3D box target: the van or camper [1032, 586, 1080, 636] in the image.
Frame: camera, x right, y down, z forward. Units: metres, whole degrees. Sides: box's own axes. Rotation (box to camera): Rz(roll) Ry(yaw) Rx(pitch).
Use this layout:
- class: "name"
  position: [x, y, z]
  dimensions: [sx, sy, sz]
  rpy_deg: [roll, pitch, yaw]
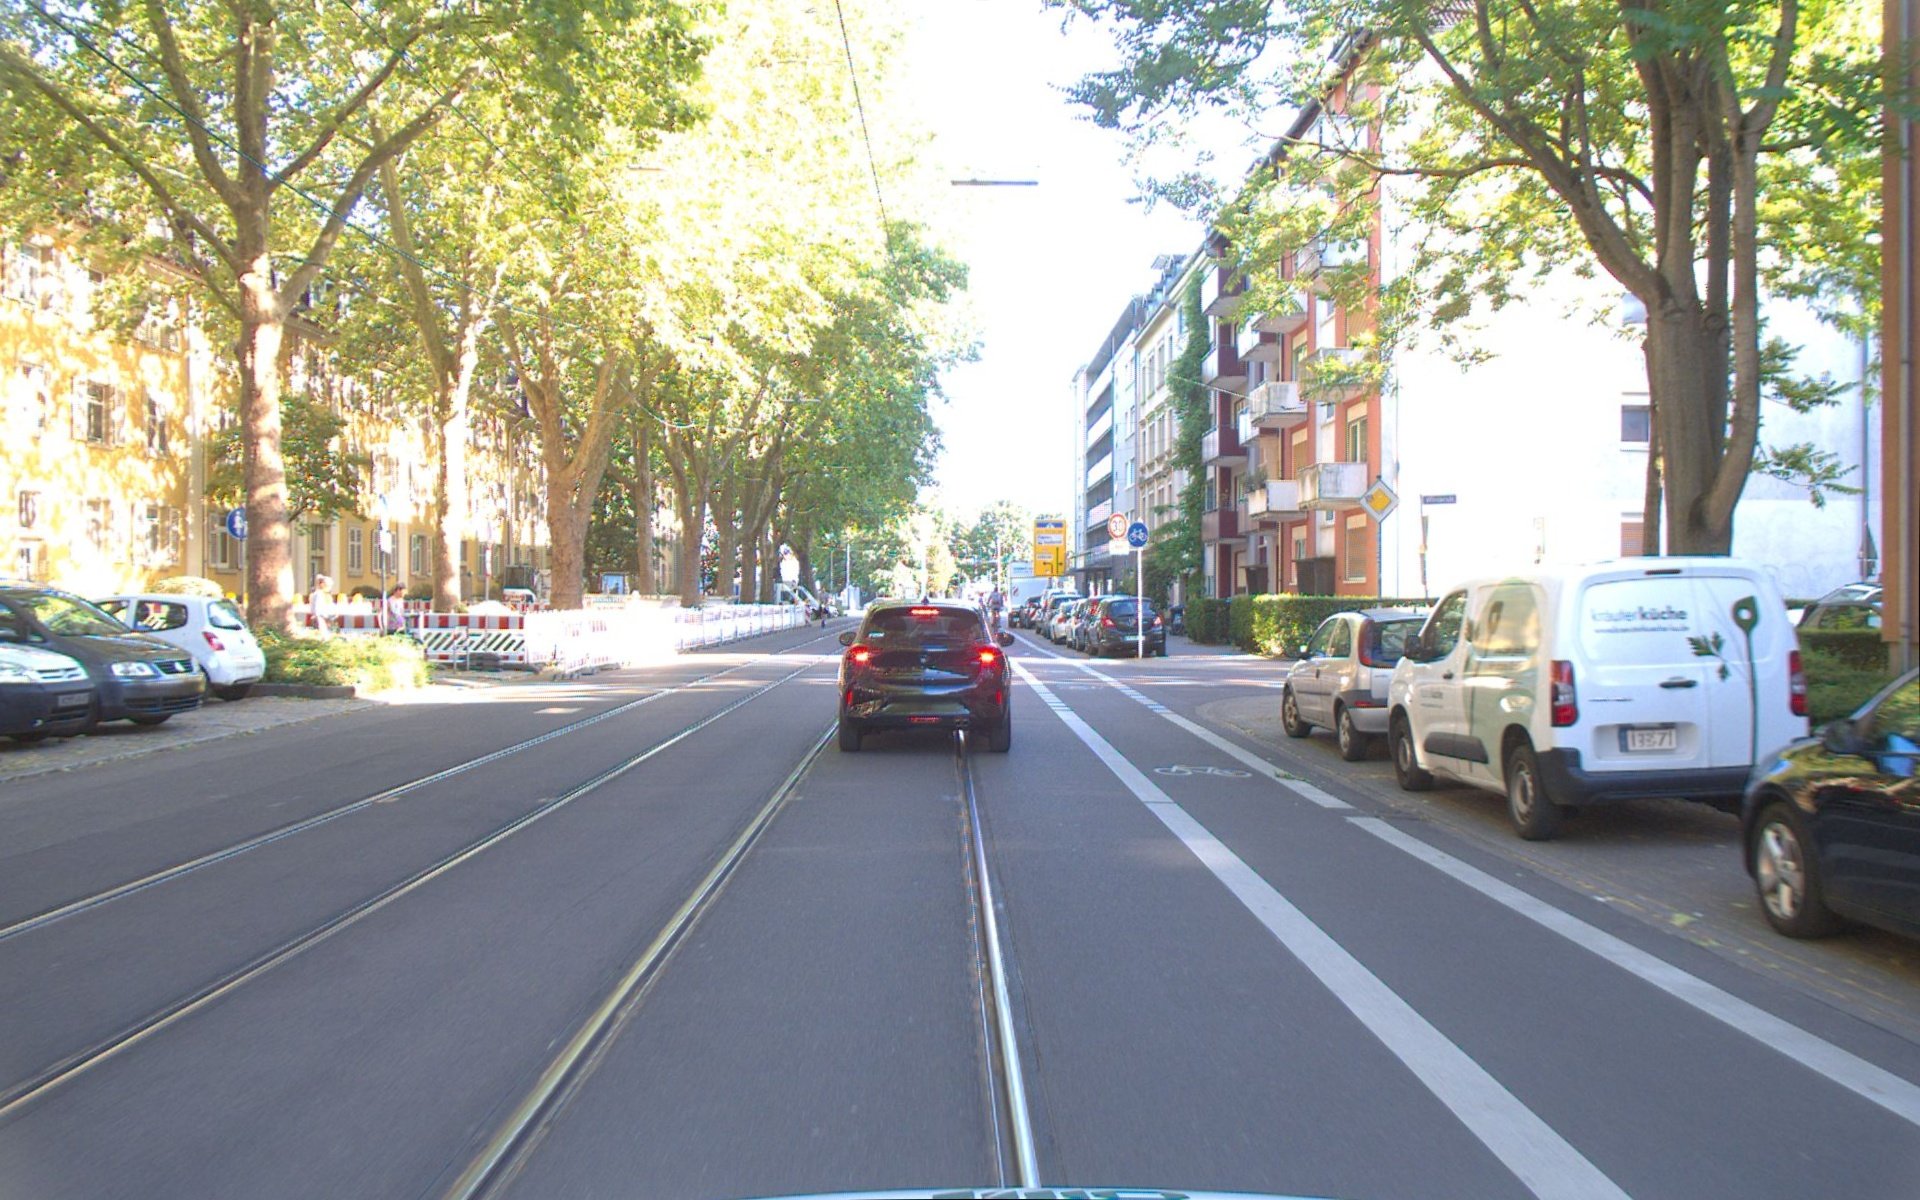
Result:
- class: "van or camper"
  position: [3.832, 0.417, 66.219]
  dimensions: [1.635, 1.915, 4.210]
  rpy_deg: [-1, 0, 0]

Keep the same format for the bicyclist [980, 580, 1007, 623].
- class: "bicyclist"
  position: [1.339, 0.051, 66.457]
  dimensions: [1.067, 1.676, 1.401]
  rpy_deg: [0, 0, 1]

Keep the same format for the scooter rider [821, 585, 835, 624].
- class: "scooter rider"
  position: [-6.676, 0.224, 83.509]
  dimensions: [0.636, 1.991, 0.624]
  rpy_deg: [1, 0, 0]

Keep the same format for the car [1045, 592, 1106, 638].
- class: "car"
  position: [3.884, 0.463, 56.199]
  dimensions: [1.625, 1.424, 4.739]
  rpy_deg: [-2, 0, -1]

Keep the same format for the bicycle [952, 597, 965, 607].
- class: "bicycle"
  position: [-0.115, 0.177, 173.913]
  dimensions: [0.771, 1.009, 2.245]
  rpy_deg: [1, 0, 16]

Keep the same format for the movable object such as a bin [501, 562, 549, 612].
- class: "movable object such as a bin"
  position: [-16.875, -0.508, 64.244]
  dimensions: [1.306, 1.901, 2.007]
  rpy_deg: [1, 0, -1]

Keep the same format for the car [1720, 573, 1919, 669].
- class: "car"
  position: [18.424, 0.398, 34.042]
  dimensions: [4.626, 1.823, 2.006]
  rpy_deg: [0, 3, -2]

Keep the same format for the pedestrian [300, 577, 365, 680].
- class: "pedestrian"
  position: [-11.052, 0.491, 29.160]
  dimensions: [0.805, 1.775, 0.796]
  rpy_deg: [1, 0, -1]

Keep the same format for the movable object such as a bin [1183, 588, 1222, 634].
- class: "movable object such as a bin"
  position: [7.257, 0.330, 49.606]
  dimensions: [0.905, 1.350, 1.681]
  rpy_deg: [1, 0, 0]

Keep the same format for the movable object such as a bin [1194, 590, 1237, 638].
- class: "movable object such as a bin"
  position: [7.374, 0.396, 47.745]
  dimensions: [0.947, 1.350, 1.721]
  rpy_deg: [1, 0, 0]

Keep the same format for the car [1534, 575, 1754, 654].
- class: "car"
  position: [13.885, 0.272, 33.686]
  dimensions: [3.834, 1.508, 1.561]
  rpy_deg: [0, 3, -2]

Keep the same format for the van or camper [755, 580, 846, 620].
- class: "van or camper"
  position: [-10.049, 0.025, 104.263]
  dimensions: [5.387, 2.421, 2.270]
  rpy_deg: [1, 0, 3]

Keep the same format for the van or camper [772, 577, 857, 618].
- class: "van or camper"
  position: [-9.969, -0.185, 113.598]
  dimensions: [5.607, 2.690, 2.269]
  rpy_deg: [1, 0, 0]

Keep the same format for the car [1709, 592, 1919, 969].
- class: "car"
  position: [4.688, 0.727, 6.363]
  dimensions: [1.671, 1.498, 4.167]
  rpy_deg: [-1, 0, -1]

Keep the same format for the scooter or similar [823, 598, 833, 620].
- class: "scooter or similar"
  position: [-6.660, 0.455, 83.557]
  dimensions: [0.399, 1.102, 1.338]
  rpy_deg: [1, 0, 0]

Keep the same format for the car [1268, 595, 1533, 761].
- class: "car"
  position: [4.479, 0.720, 17.410]
  dimensions: [1.671, 1.498, 3.999]
  rpy_deg: [-1, 0, -1]

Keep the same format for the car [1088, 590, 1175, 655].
- class: "car"
  position: [4.305, 0.534, 42.007]
  dimensions: [1.698, 1.487, 3.915]
  rpy_deg: [-2, 0, -1]

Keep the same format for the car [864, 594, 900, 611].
- class: "car"
  position: [-8.299, 0.263, 175.635]
  dimensions: [1.899, 1.725, 4.273]
  rpy_deg: [-2, 0, -33]

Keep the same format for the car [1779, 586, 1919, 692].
- class: "car"
  position: [14.732, 0.573, 25.009]
  dimensions: [1.705, 1.567, 3.957]
  rpy_deg: [0, 0, -32]

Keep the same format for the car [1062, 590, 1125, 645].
- class: "car"
  position: [4.037, 0.505, 50.442]
  dimensions: [1.559, 1.553, 3.835]
  rpy_deg: [-2, 0, 0]

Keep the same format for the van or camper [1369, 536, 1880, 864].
- class: "van or camper"
  position: [4.481, 0.563, 12.072]
  dimensions: [1.719, 1.897, 4.829]
  rpy_deg: [-1, 0, -1]

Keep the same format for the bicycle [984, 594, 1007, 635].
- class: "bicycle"
  position: [1.438, 0.553, 66.730]
  dimensions: [0.897, 1.588, 3.405]
  rpy_deg: [0, 0, 1]

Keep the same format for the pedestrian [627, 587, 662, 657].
- class: "pedestrian"
  position: [-7.804, 0.537, 40.940]
  dimensions: [0.702, 1.698, 0.778]
  rpy_deg: [1, 0, 0]

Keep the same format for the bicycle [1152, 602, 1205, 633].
- class: "bicycle"
  position: [7.914, 0.638, 60.056]
  dimensions: [1.854, 1.047, 0.476]
  rpy_deg: [-2, 0, 4]

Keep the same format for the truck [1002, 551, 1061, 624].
- class: "truck"
  position: [3.534, -0.625, 83.468]
  dimensions: [2.486, 3.396, 7.194]
  rpy_deg: [-3, 0, 0]

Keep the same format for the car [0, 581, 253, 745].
- class: "car"
  position: [-10.437, 0.676, 18.585]
  dimensions: [4.144, 1.717, 1.934]
  rpy_deg: [-1, 0, 6]

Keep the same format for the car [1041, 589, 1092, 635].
- class: "car"
  position: [3.909, 0.417, 61.169]
  dimensions: [1.626, 1.608, 3.588]
  rpy_deg: [-1, 0, 0]

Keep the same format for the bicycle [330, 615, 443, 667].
- class: "bicycle"
  position: [-11.114, 0.796, 32.074]
  dimensions: [1.931, 0.979, 0.726]
  rpy_deg: [0, 0, 0]

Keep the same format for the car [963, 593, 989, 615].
- class: "car"
  position: [1.273, 0.305, 136.175]
  dimensions: [1.953, 1.725, 4.739]
  rpy_deg: [-2, 0, -1]

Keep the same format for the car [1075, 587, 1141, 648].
- class: "car"
  position: [4.104, 0.483, 46.426]
  dimensions: [1.495, 1.618, 3.752]
  rpy_deg: [1, 0, 0]

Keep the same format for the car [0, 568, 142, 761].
- class: "car"
  position: [-10.531, 0.573, 16.232]
  dimensions: [4.112, 1.788, 1.740]
  rpy_deg: [1, 0, 0]

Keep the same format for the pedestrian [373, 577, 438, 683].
- class: "pedestrian"
  position: [-9.492, 0.515, 28.336]
  dimensions: [0.805, 1.775, 0.796]
  rpy_deg: [1, 0, -1]

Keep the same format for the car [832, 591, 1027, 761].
- class: "car"
  position: [-0.305, 0.674, 16.933]
  dimensions: [1.745, 1.522, 3.999]
  rpy_deg: [0, 0, -1]

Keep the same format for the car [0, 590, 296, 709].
- class: "car"
  position: [-11.385, 0.653, 22.679]
  dimensions: [3.769, 1.524, 1.862]
  rpy_deg: [-1, 0, 0]
